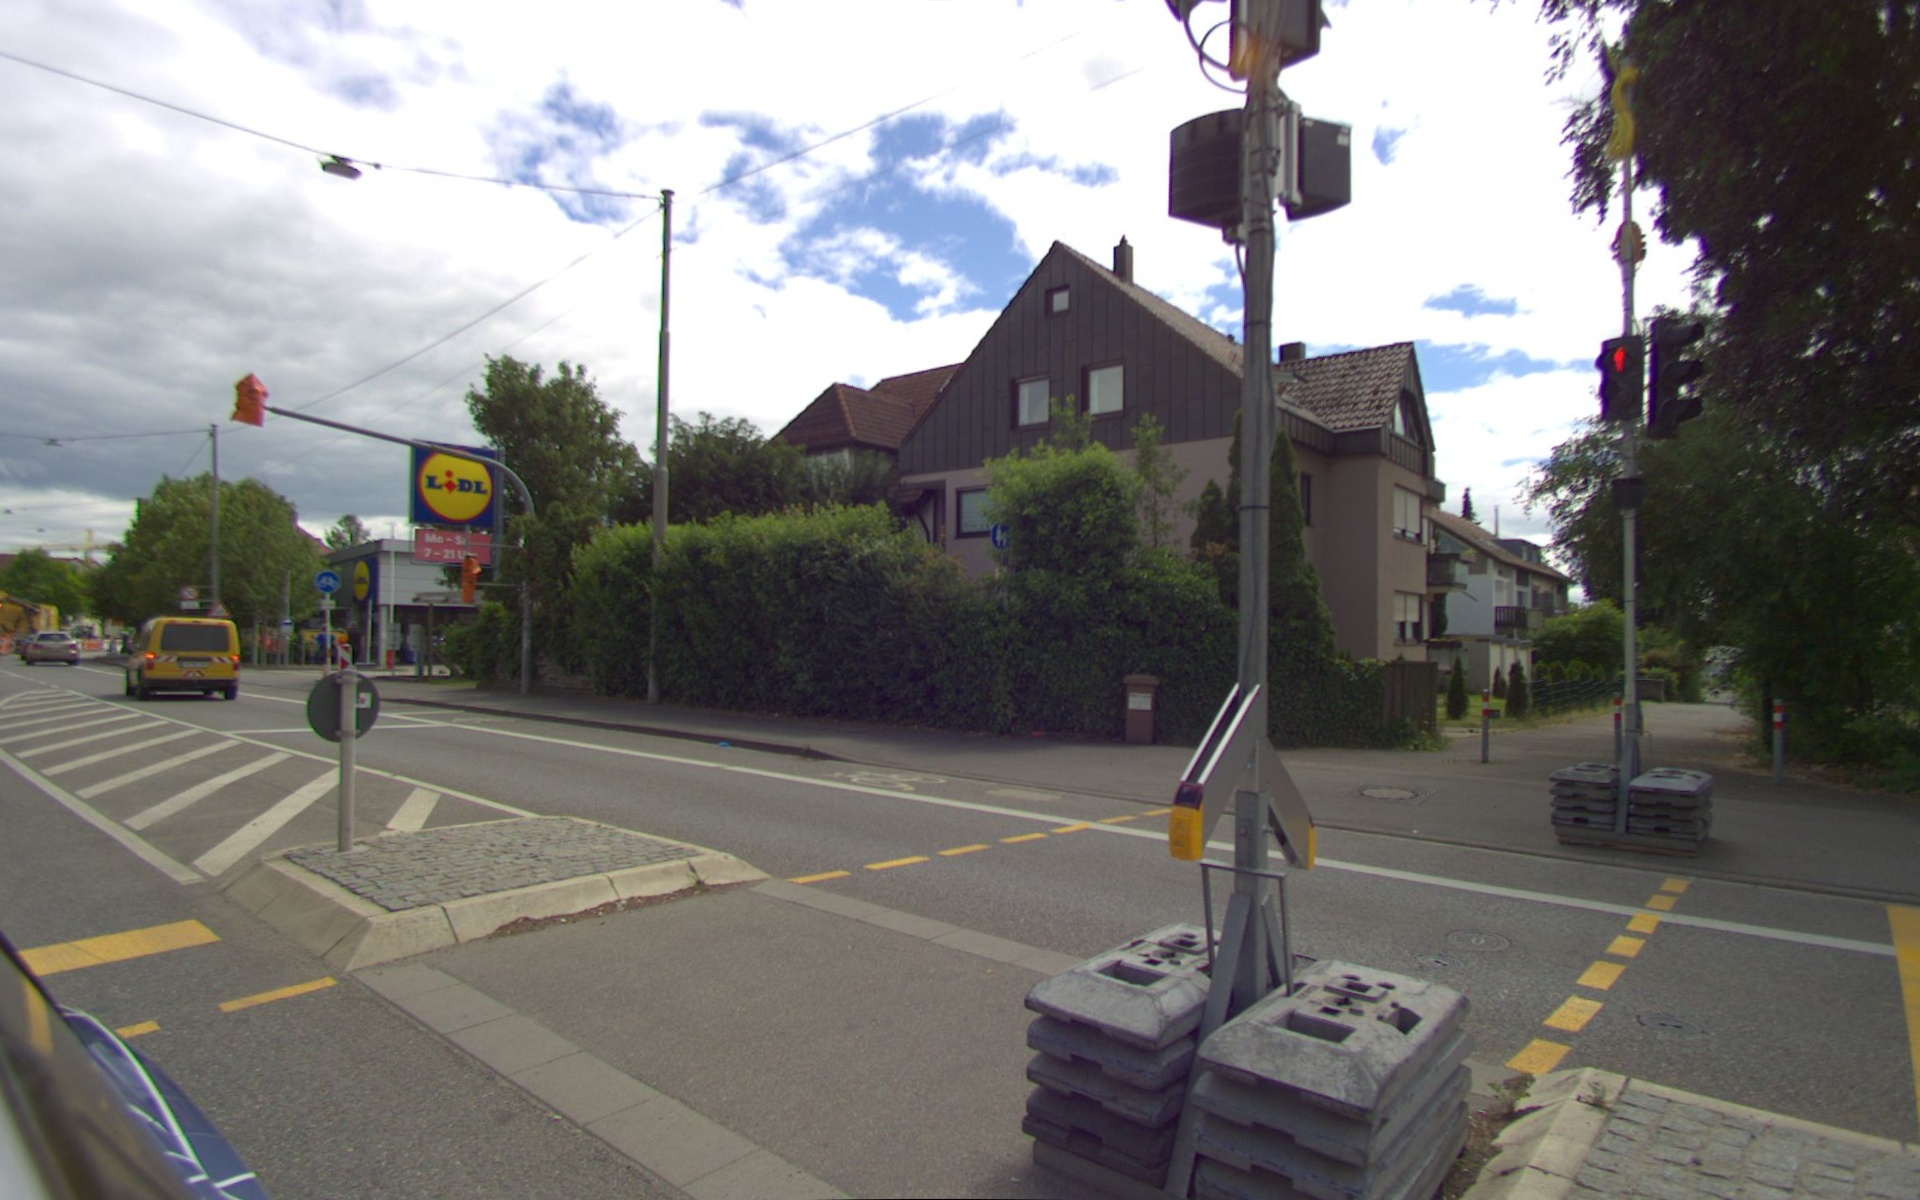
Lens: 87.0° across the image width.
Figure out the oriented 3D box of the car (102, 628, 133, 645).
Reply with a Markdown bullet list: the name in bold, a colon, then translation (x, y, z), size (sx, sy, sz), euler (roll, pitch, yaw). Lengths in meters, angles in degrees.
- **car**: translation (-77.136, 3.350, 92.654), size (1.833, 1.525, 4.002), euler (4, -4, -44)

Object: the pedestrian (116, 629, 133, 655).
- **pedestrian**: translation (-59.877, 2.995, 72.517), size (0.685, 1.861, 0.624), euler (2, -3, -20)

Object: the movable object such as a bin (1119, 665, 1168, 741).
- **movable object such as a bin**: translation (2.432, 1.362, 13.459), size (0.532, 0.960, 0.556), euler (1, -2, -2)

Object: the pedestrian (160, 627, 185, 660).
- **pedestrian**: translation (-39.130, 2.171, 50.300), size (0.829, 1.615, 0.745), euler (-1, -4, 39)

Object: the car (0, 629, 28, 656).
- **car**: translation (-54.027, 2.346, 56.779), size (4.809, 1.410, 1.972), euler (-1, -5, 41)

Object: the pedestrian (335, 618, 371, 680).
- **pedestrian**: translation (-18.435, 1.482, 30.740), size (0.706, 1.868, 0.674), euler (-1, -3, 41)

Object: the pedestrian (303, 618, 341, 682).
- **pedestrian**: translation (-18.997, 1.472, 30.137), size (0.892, 1.868, 0.674), euler (-1, -3, 41)

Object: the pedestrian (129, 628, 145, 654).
- **pedestrian**: translation (-58.929, 2.927, 72.476), size (0.616, 1.861, 0.624), euler (2, -3, -20)

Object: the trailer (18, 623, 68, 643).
- **trailer**: translation (-108.661, 3.939, 119.987), size (2.556, 2.262, 5.692), euler (-1, -2, -22)

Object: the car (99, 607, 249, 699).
- **car**: translation (-18.250, 1.185, 23.420), size (4.683, 1.919, 1.822), euler (-1, -4, 41)

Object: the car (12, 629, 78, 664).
- **car**: translation (-42.751, 2.167, 47.251), size (4.400, 1.567, 1.731), euler (-2, -4, 41)

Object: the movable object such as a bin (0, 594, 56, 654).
- **movable object such as a bin**: translation (-71.547, 1.886, 76.975), size (2.556, 4.254, 11.149), euler (3, -4, -34)
